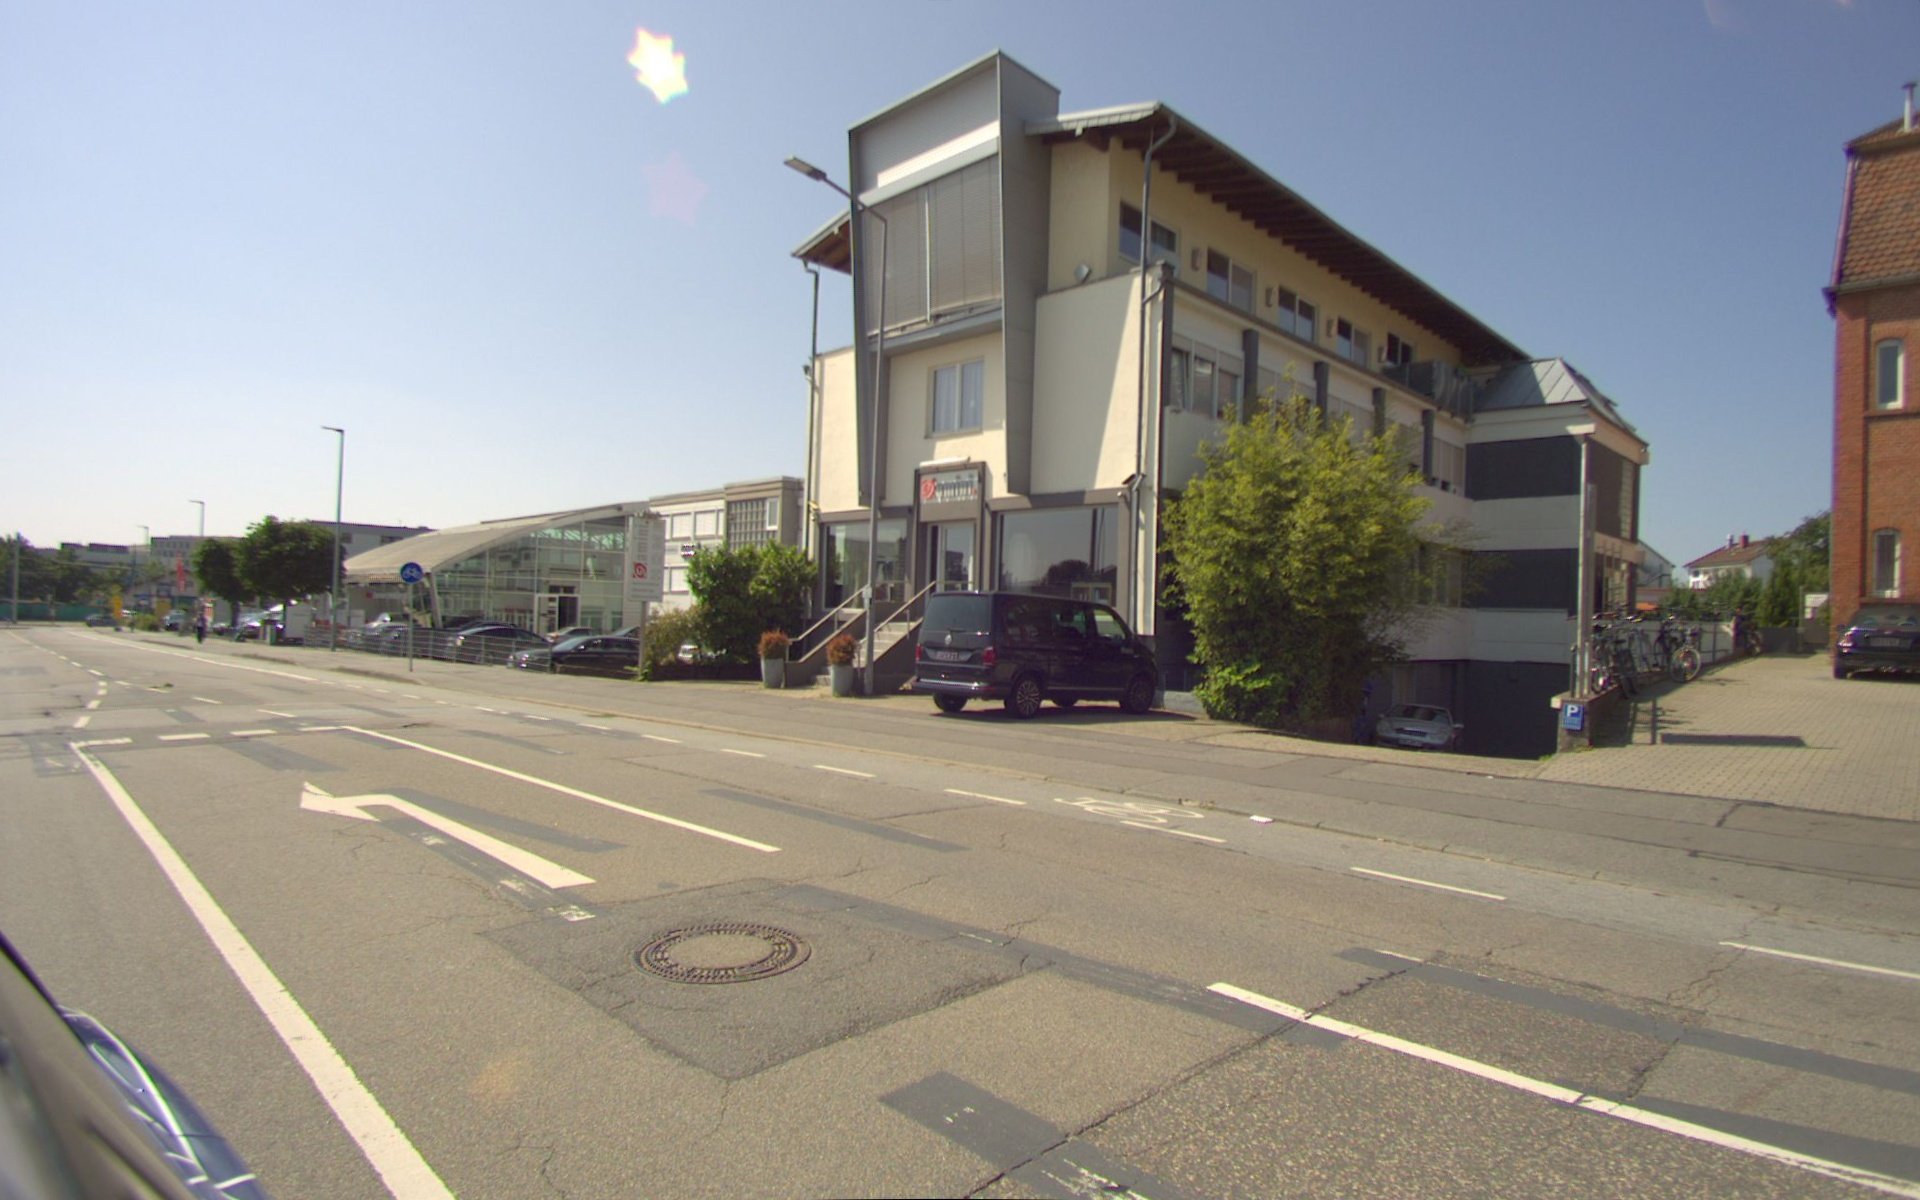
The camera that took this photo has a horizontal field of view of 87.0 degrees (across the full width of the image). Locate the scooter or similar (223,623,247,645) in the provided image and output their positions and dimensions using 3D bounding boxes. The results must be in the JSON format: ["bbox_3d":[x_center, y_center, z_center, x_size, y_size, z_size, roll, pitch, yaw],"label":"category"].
[{"bbox_3d":[-41.864,1.938,58.451,1.488,1.257,0.736,-1,-2,38],"label":"scooter or similar"}]

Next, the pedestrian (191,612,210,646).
[{"bbox_3d":[-42.222,1.635,56.288,0.723,1.882,1.048,3,-3,-41],"label":"pedestrian"}]

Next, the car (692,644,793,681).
[{"bbox_3d":[-9.483,2.702,44.319,3.938,1.413,1.818,1,0,-41],"label":"car"}]

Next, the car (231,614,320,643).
[{"bbox_3d":[-41.693,1.741,61.765,1.838,1.709,4.566,0,-1,10],"label":"car"}]

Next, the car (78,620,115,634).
[{"bbox_3d":[-91.757,2.891,107.552,1.717,1.415,4.338,1,-1,-22],"label":"car"}]

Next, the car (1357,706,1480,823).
[{"bbox_3d":[10.983,3.782,24.081,1.995,2.029,3.954,-1,0,34],"label":"car"}]

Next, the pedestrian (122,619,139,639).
[{"bbox_3d":[-71.013,2.473,86.658,0.980,1.698,0.801,2,-3,-34],"label":"pedestrian"}]

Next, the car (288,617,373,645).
[{"bbox_3d":[-36.147,1.773,58.198,1.841,1.562,3.981,-1,-1,14],"label":"car"}]

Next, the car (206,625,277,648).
[{"bbox_3d":[-49.522,2.490,69.831,1.882,1.470,4.158,0,-1,2],"label":"car"}]

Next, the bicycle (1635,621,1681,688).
[{"bbox_3d":[12.705,0.970,18.394,0.514,1.109,1.615,-1,0,40],"label":"bicycle"}]

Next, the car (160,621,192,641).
[{"bbox_3d":[-69.977,2.758,90.285,1.882,1.728,4.004,3,-3,-42],"label":"car"}]

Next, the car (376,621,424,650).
[{"bbox_3d":[-33.329,2.094,60.160,1.967,1.697,4.009,1,-2,-36],"label":"car"}]

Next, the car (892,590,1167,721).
[{"bbox_3d":[1.276,0.926,16.897,4.512,1.880,2.094,4,-4,-44],"label":"car"}]

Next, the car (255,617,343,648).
[{"bbox_3d":[-39.245,1.913,60.246,1.889,1.720,4.467,0,0,10],"label":"car"}]

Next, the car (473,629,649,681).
[{"bbox_3d":[-12.408,1.703,31.715,2.048,1.492,4.686,-1,-3,44],"label":"car"}]

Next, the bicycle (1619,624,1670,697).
[{"bbox_3d":[11.525,0.990,17.019,0.514,1.109,1.615,-1,0,40],"label":"bicycle"}]

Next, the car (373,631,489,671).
[{"bbox_3d":[-22.489,2.155,43.099,1.859,1.501,3.945,2,-1,41],"label":"car"}]

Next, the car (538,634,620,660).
[{"bbox_3d":[-21.536,2.626,57.295,1.860,1.370,3.941,-1,-2,45],"label":"car"}]

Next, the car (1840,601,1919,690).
[{"bbox_3d":[18.923,0.844,20.481,1.625,1.549,3.946,1,2,41],"label":"car"}]

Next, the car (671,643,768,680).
[{"bbox_3d":[-10.965,2.785,46.229,1.860,1.557,3.942,-1,-2,44],"label":"car"}]

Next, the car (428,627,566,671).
[{"bbox_3d":[-17.373,1.832,38.126,1.994,1.570,4.251,-1,-3,41],"label":"car"}]

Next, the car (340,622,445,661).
[{"bbox_3d":[-26.181,1.862,46.737,1.824,1.455,3.848,2,3,43],"label":"car"}]

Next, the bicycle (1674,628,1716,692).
[{"bbox_3d":[14.165,1.136,19.486,0.514,1.109,1.615,-1,0,40],"label":"bicycle"}]

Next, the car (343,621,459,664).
[{"bbox_3d":[-24.533,1.892,44.493,1.859,1.454,3.944,-1,-8,43],"label":"car"}]

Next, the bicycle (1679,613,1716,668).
[{"bbox_3d":[16.019,0.864,21.961,0.514,1.109,1.615,-1,0,40],"label":"bicycle"}]

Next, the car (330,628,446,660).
[{"bbox_3d":[-27.542,2.131,48.837,1.901,1.469,4.474,-1,-3,43],"label":"car"}]
